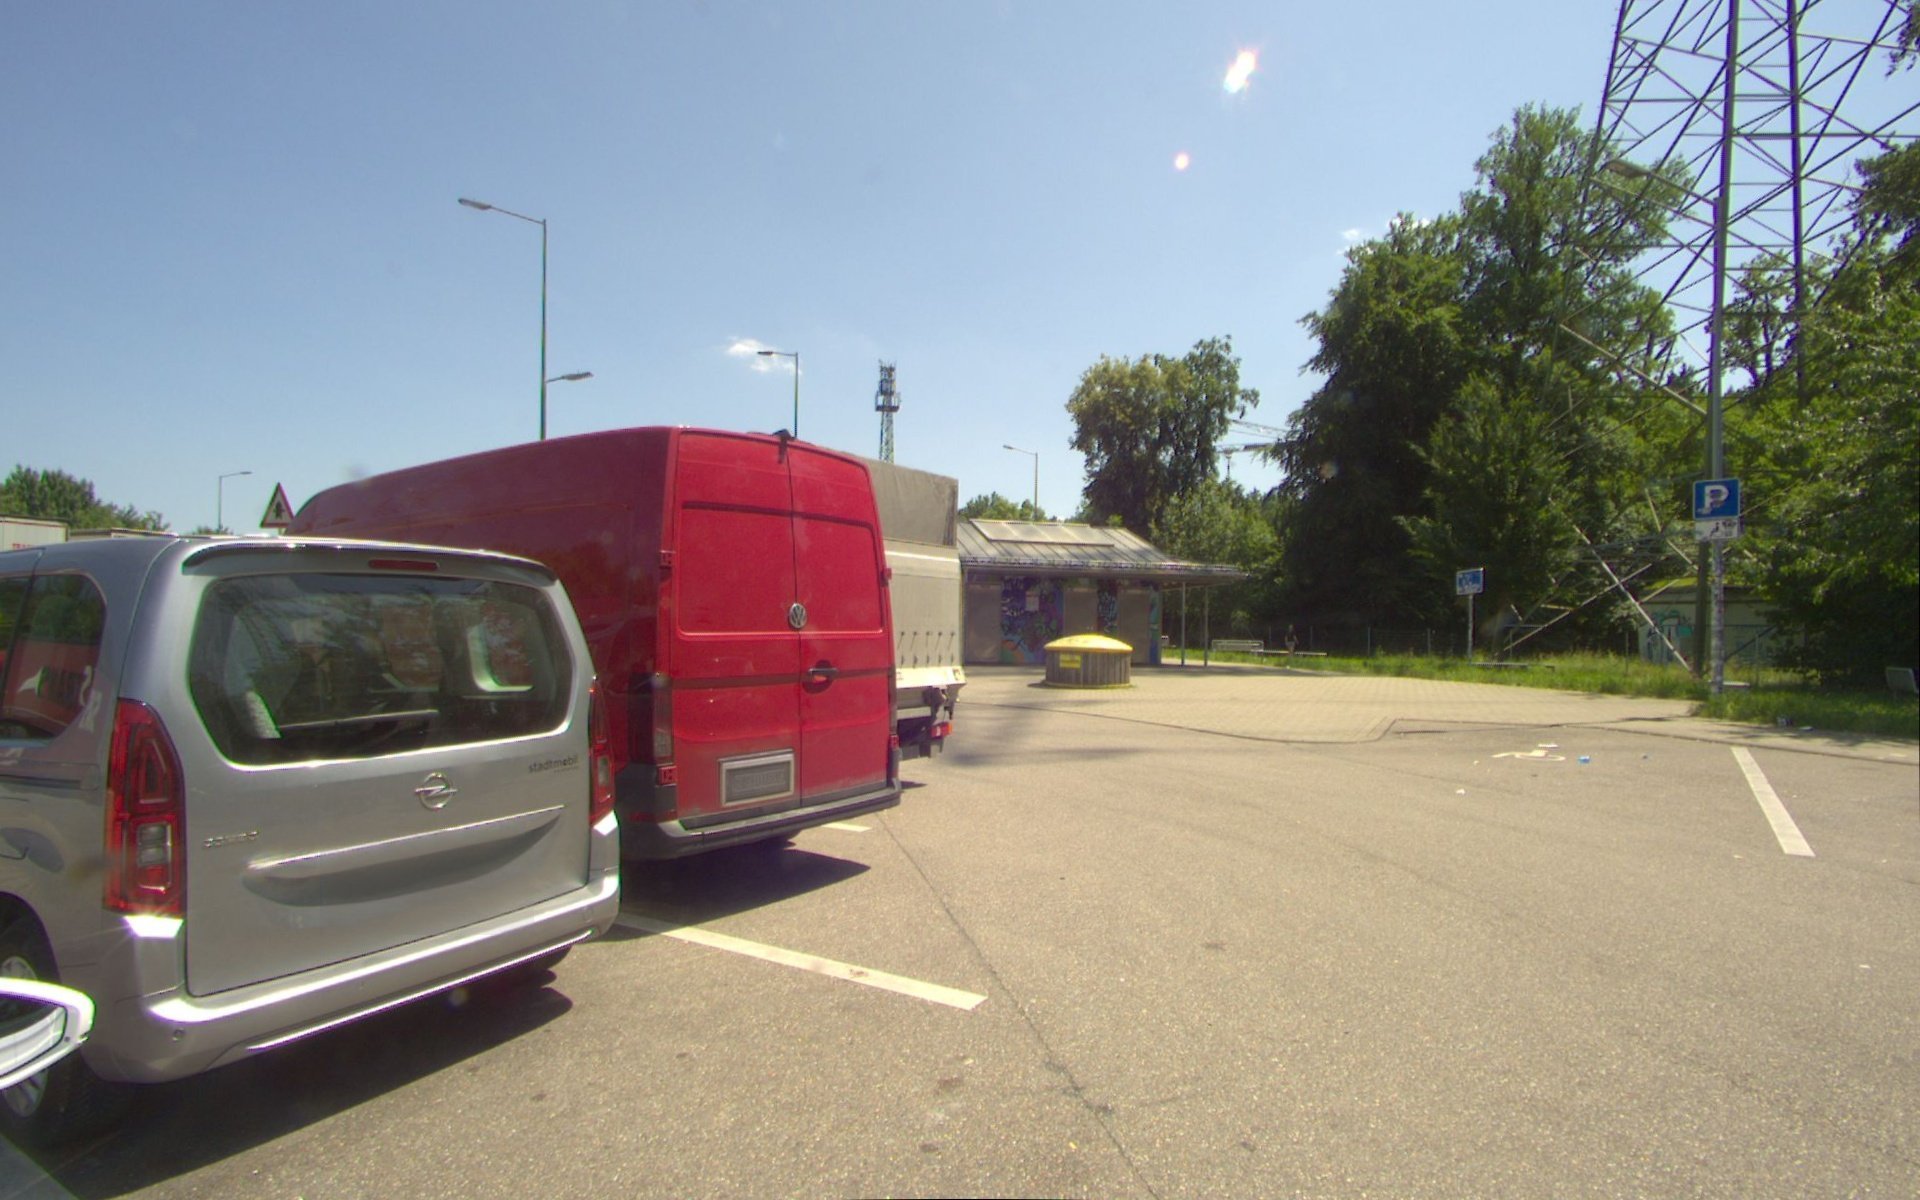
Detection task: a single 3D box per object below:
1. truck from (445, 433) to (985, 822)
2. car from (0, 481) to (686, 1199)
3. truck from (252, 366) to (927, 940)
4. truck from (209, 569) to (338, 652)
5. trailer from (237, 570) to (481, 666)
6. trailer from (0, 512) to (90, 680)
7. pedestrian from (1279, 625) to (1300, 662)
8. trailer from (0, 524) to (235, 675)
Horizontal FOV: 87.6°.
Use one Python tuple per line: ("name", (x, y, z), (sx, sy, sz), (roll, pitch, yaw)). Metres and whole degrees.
("truck", (-2.716, 0.305, 10.271), (5.582, 2.949, 2.449), (-2, -2, 37))
("car", (-3.361, 0.688, 4.232), (4.113, 1.887, 1.868), (1, -2, 31))
("truck", (-2.868, 0.338, 7.032), (5.238, 2.655, 1.972), (-2, -2, 38))
("truck", (-32.070, 0.469, 46.746), (5.813, 3.566, 2.799), (2, -2, 33))
("trailer", (-26.076, 0.647, 42.888), (14.184, 3.552, 2.808), (2, -2, 33))
("trailer", (-28.994, -0.257, 28.127), (14.184, 4.040, 2.808), (2, -2, 33))
("pedestrian", (14.941, 1.958, 45.455), (0.722, 1.658, 0.793), (0, -1, 3))
("trailer", (-27.930, -0.099, 31.773), (14.184, 4.040, 2.808), (2, -2, 33))
